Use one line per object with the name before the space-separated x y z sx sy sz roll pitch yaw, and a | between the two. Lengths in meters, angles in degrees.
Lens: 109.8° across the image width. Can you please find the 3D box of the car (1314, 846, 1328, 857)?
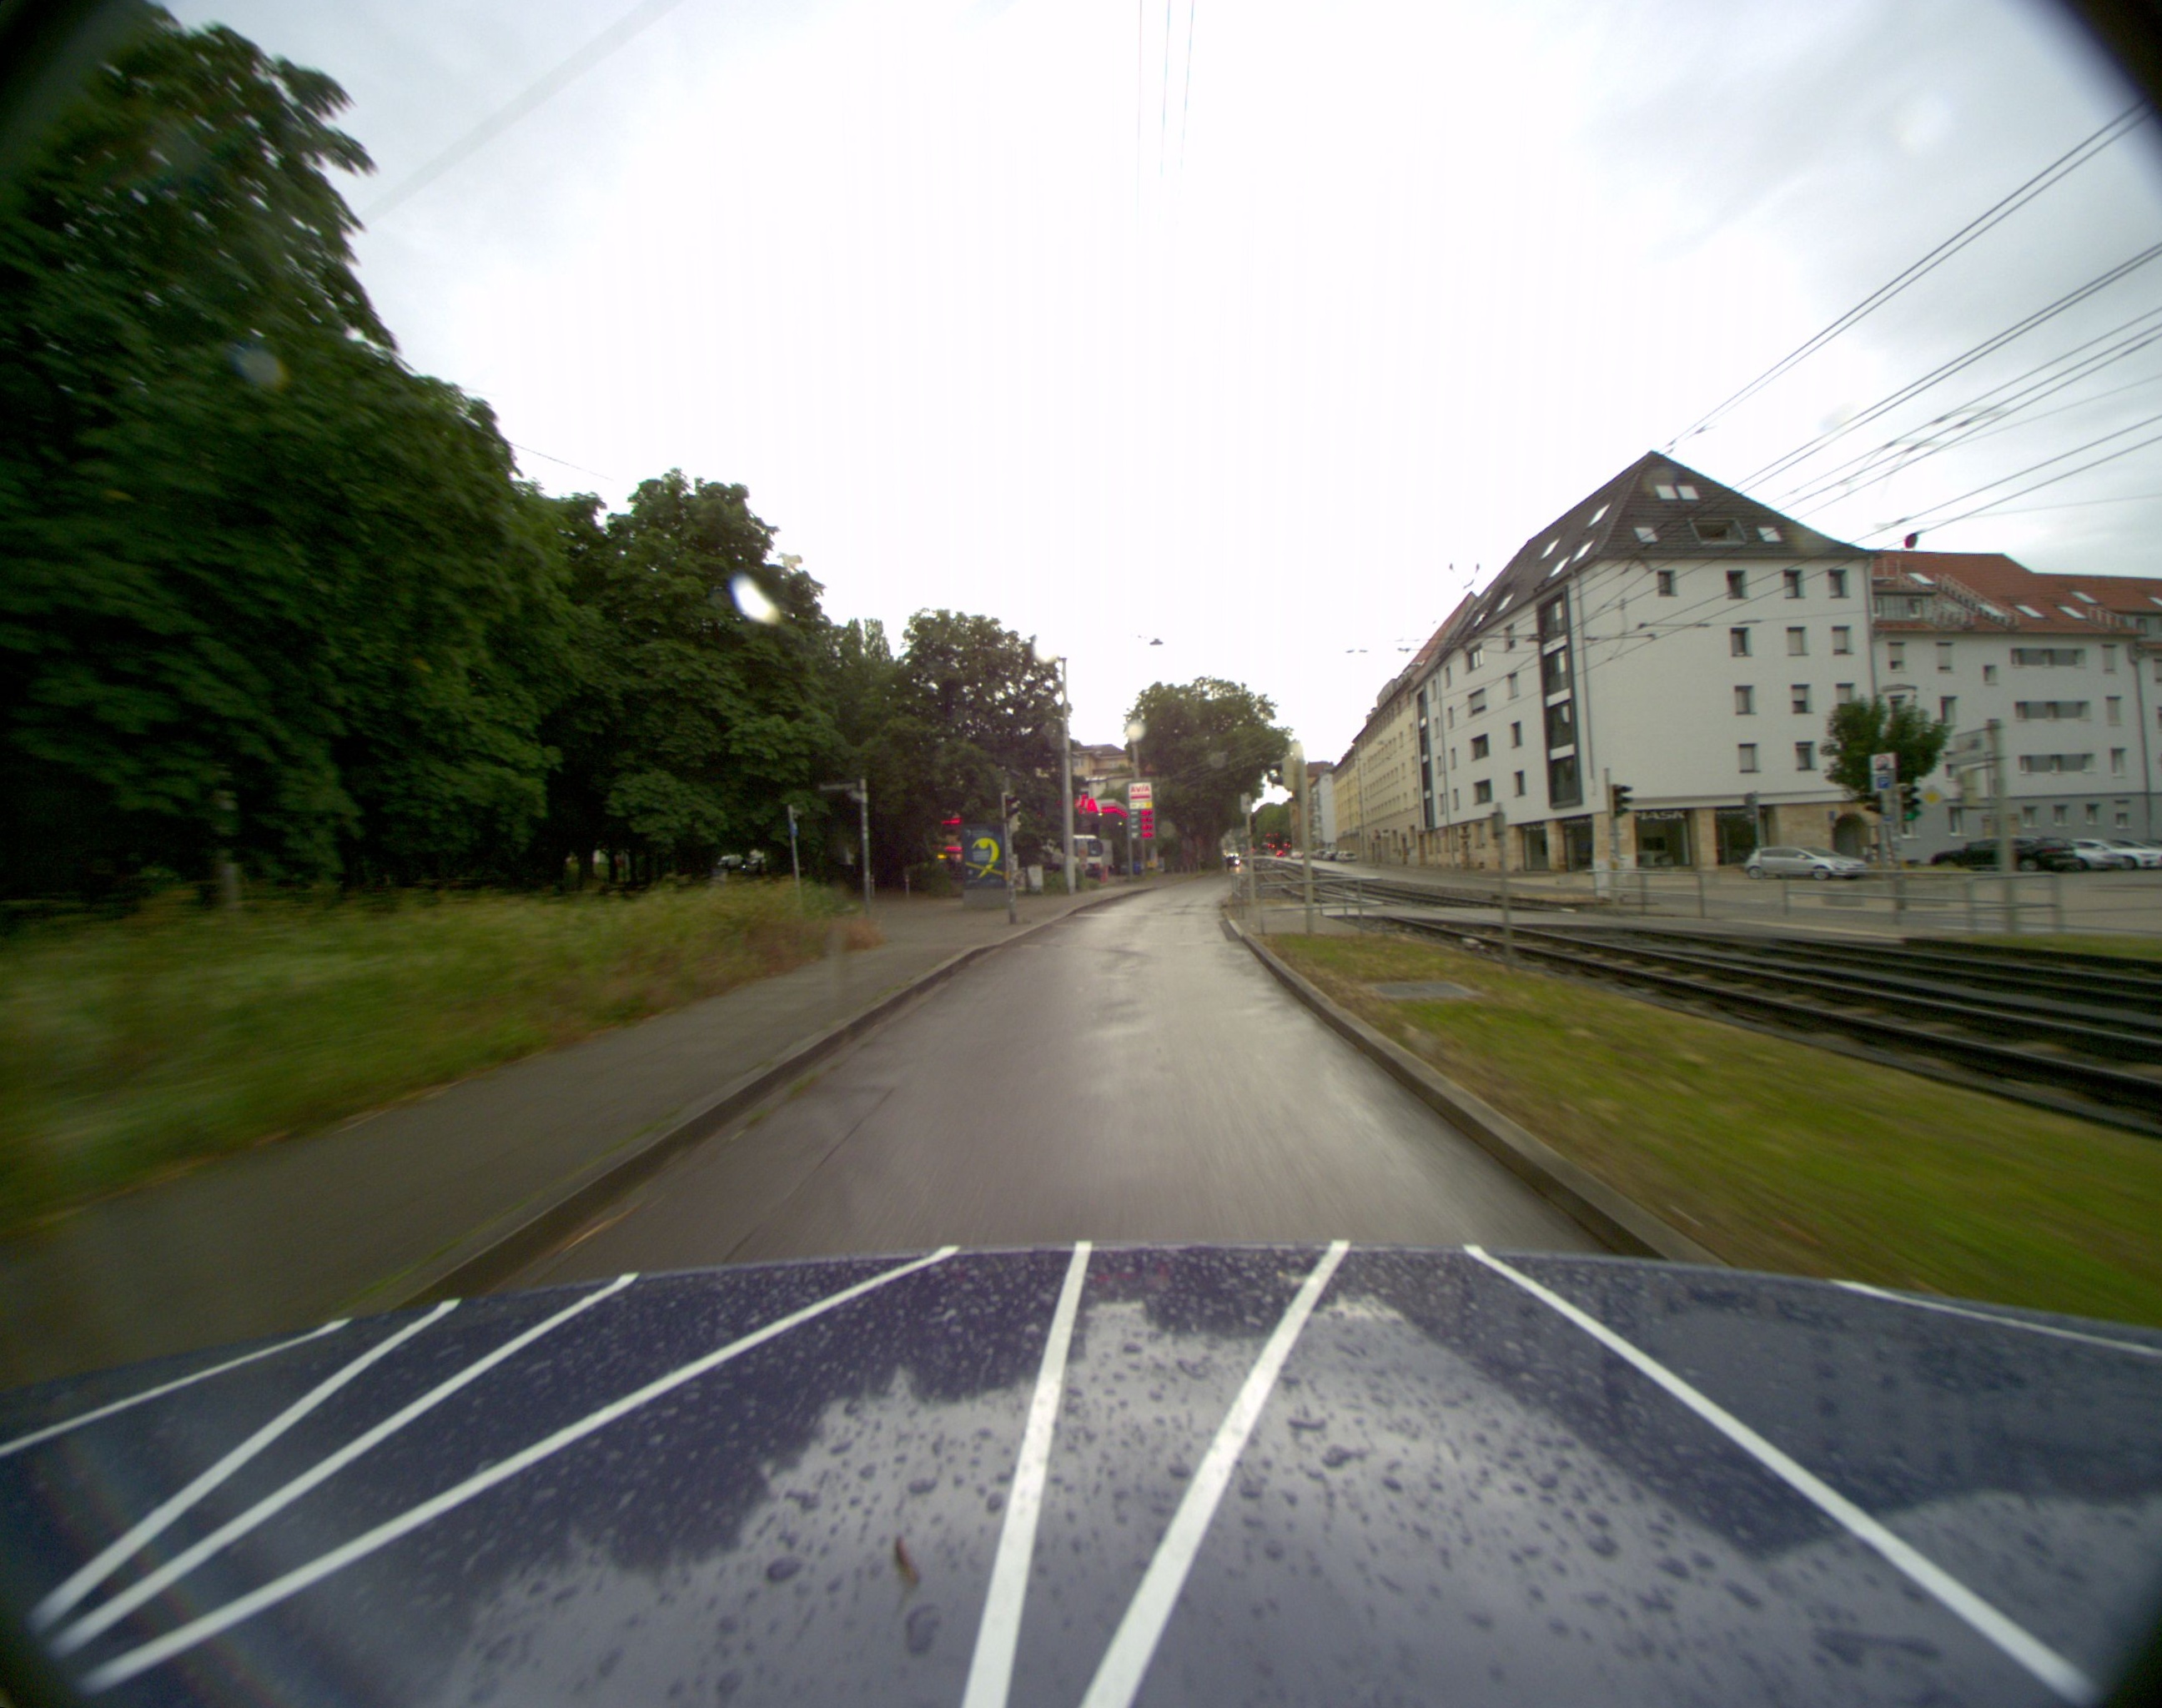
car | 41.771 -0.390 132.474 1.726 1.798 3.594 -2 1 9

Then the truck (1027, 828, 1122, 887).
truck | -0.506 0.232 46.994 2.842 3.379 6.109 -1 0 -35

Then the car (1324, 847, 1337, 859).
car | 39.946 -0.158 121.656 1.376 1.742 3.408 -2 1 9

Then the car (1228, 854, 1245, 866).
car | 21.176 0.787 103.508 1.887 1.482 3.853 -1 1 16

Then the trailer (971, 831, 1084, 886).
trailer | -3.893 0.329 51.727 2.818 3.376 9.810 -2 1 -36

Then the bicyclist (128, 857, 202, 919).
bicyclist | -19.665 0.724 16.327 0.800 1.286 0.594 -2 -1 -10

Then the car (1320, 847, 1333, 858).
car | 40.835 -0.275 126.457 1.555 1.872 4.044 -2 1 12

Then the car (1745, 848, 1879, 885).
car | 31.300 0.497 32.682 1.601 1.412 3.912 -2 1 -11

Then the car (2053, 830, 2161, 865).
car | 49.973 -0.306 36.247 1.940 1.608 3.997 -1 0 -8

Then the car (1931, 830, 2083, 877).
car | 42.166 -0.015 34.748 1.940 2.002 3.997 -1 0 -8

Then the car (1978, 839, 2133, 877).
car | 44.982 0.181 35.219 1.940 1.608 3.997 -1 0 -8

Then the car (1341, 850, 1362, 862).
car | 37.315 0.230 104.822 2.028 1.533 4.002 -2 1 9

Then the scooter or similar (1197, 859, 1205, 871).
scooter or similar | 12.736 1.146 80.846 0.399 1.186 1.364 -1 3 26

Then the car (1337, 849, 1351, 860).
car | 37.790 0.108 109.253 1.325 1.476 3.193 -2 1 9

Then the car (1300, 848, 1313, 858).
car | 46.427 -0.216 156.704 2.028 2.002 4.230 -2 1 9

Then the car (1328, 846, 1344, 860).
car | 38.991 -0.184 116.060 1.727 1.948 4.302 -2 1 11

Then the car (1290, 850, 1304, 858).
car | 42.053 -0.015 148.242 1.690 1.527 5.019 -2 0 5

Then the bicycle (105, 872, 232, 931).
bicycle | -19.444 1.000 16.223 1.712 1.133 0.625 -2 1 -9

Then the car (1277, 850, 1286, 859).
car | 49.762 0.157 188.726 1.947 2.002 4.003 -2 1 12

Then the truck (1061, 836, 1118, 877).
truck | 0.964 0.163 72.705 2.657 3.548 10.267 -2 1 17
